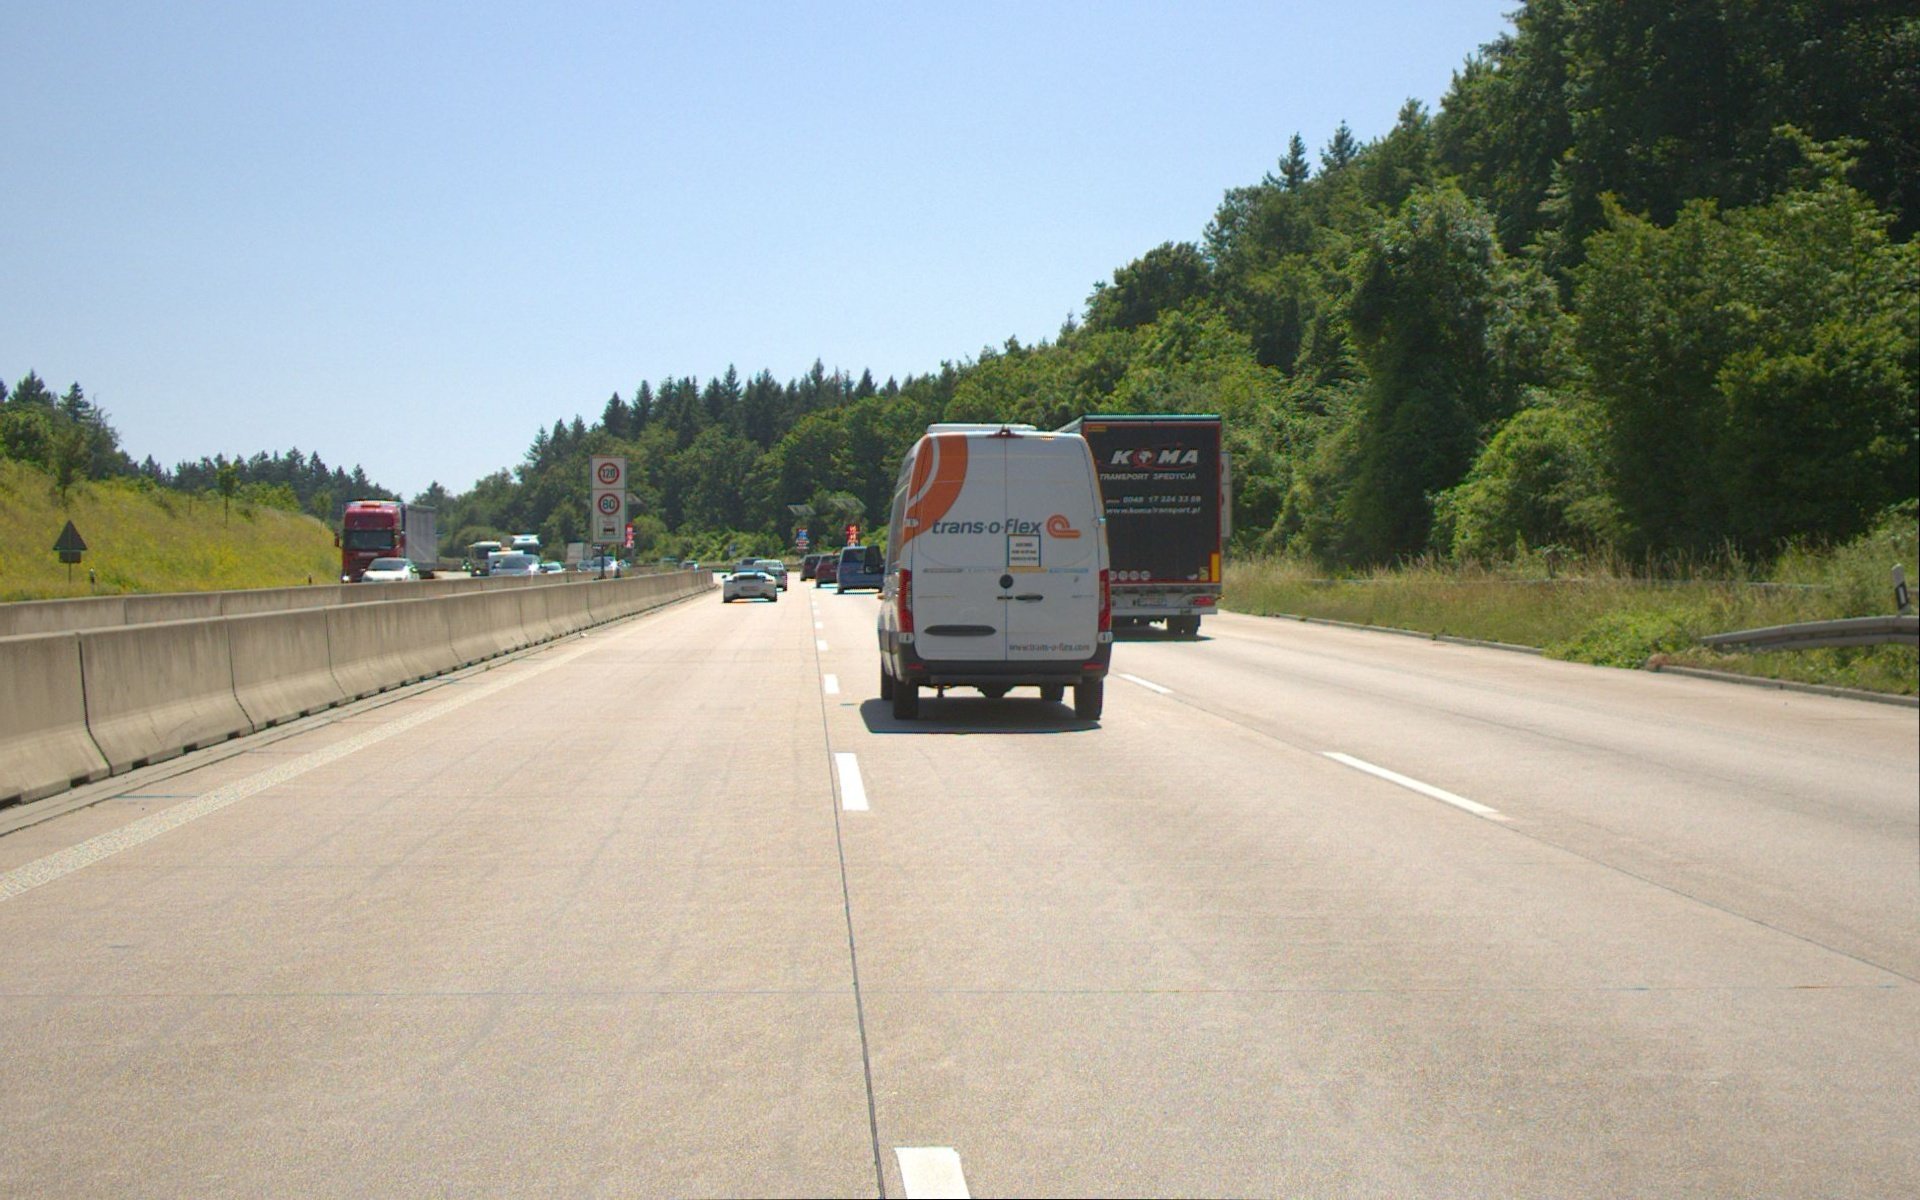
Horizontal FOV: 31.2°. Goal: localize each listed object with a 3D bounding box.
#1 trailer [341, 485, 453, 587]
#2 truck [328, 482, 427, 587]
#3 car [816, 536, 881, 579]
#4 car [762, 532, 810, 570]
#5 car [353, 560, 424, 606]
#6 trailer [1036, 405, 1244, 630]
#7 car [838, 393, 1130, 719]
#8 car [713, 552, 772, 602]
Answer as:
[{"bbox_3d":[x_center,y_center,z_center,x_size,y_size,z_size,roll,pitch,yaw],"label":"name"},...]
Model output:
[{"bbox_3d":[-25.633,-2.837,157.251,3.386,4.416,13.925,0,0,-2],"label":"trailer"},{"bbox_3d":[-25.305,-2.813,149.702,3.386,4.416,6.801,0,0,-2],"label":"truck"},{"bbox_3d":[-4.500,-1.675,138.017,1.993,1.678,4.001,0,0,-10],"label":"car"},{"bbox_3d":[-7.827,-2.190,154.186,1.993,1.678,4.001,0,0,-5],"label":"car"},{"bbox_3d":[-20.104,-0.626,121.006,1.993,1.558,4.001,1,1,-3],"label":"car"},{"bbox_3d":[3.360,-1.549,66.715,3.134,4.003,9.089,-1,1,-2],"label":"trailer"},{"bbox_3d":[0.122,-0.455,33.129,2.226,2.834,5.455,-1,1,-5],"label":"car"},{"bbox_3d":[-7.514,-0.795,119.226,1.993,1.678,4.000,0,0,-3],"label":"car"}]
